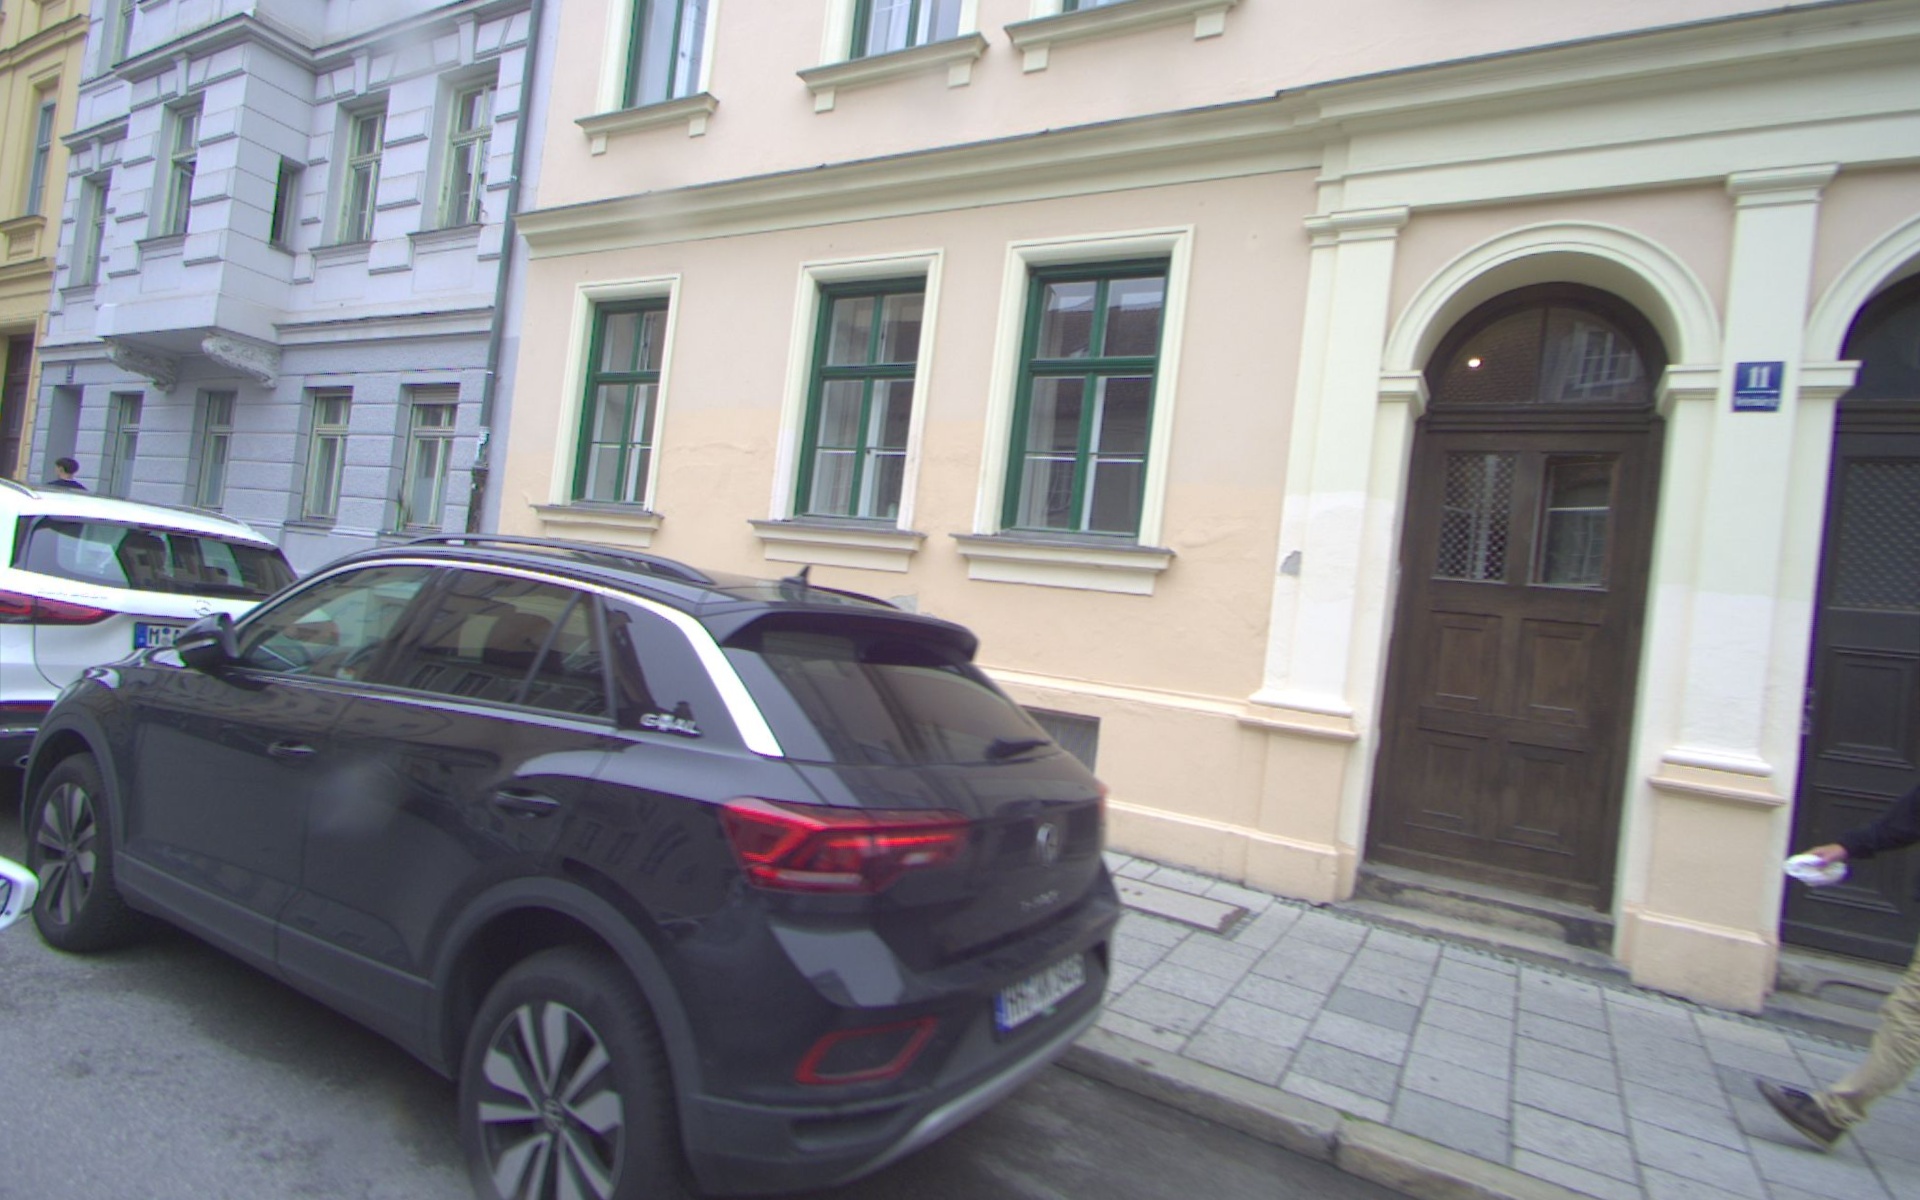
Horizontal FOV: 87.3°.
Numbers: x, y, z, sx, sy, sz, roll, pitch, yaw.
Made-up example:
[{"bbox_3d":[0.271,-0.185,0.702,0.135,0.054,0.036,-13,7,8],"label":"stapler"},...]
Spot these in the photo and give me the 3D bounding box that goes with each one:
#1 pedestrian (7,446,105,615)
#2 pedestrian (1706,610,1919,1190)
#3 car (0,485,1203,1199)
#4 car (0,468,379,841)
[{"bbox_3d":[-11.204,-0.852,12.476,0.697,2.007,0.669,6,2,30],"label":"pedestrian"},{"bbox_3d":[3.242,0.965,3.346,0.986,1.738,0.720,6,-1,29],"label":"pedestrian"},{"bbox_3d":[-1.547,0.610,3.511,4.202,1.539,1.758,7,-1,30],"label":"car"},{"bbox_3d":[-5.665,0.089,5.991,4.391,1.602,1.747,7,-1,30],"label":"car"}]
